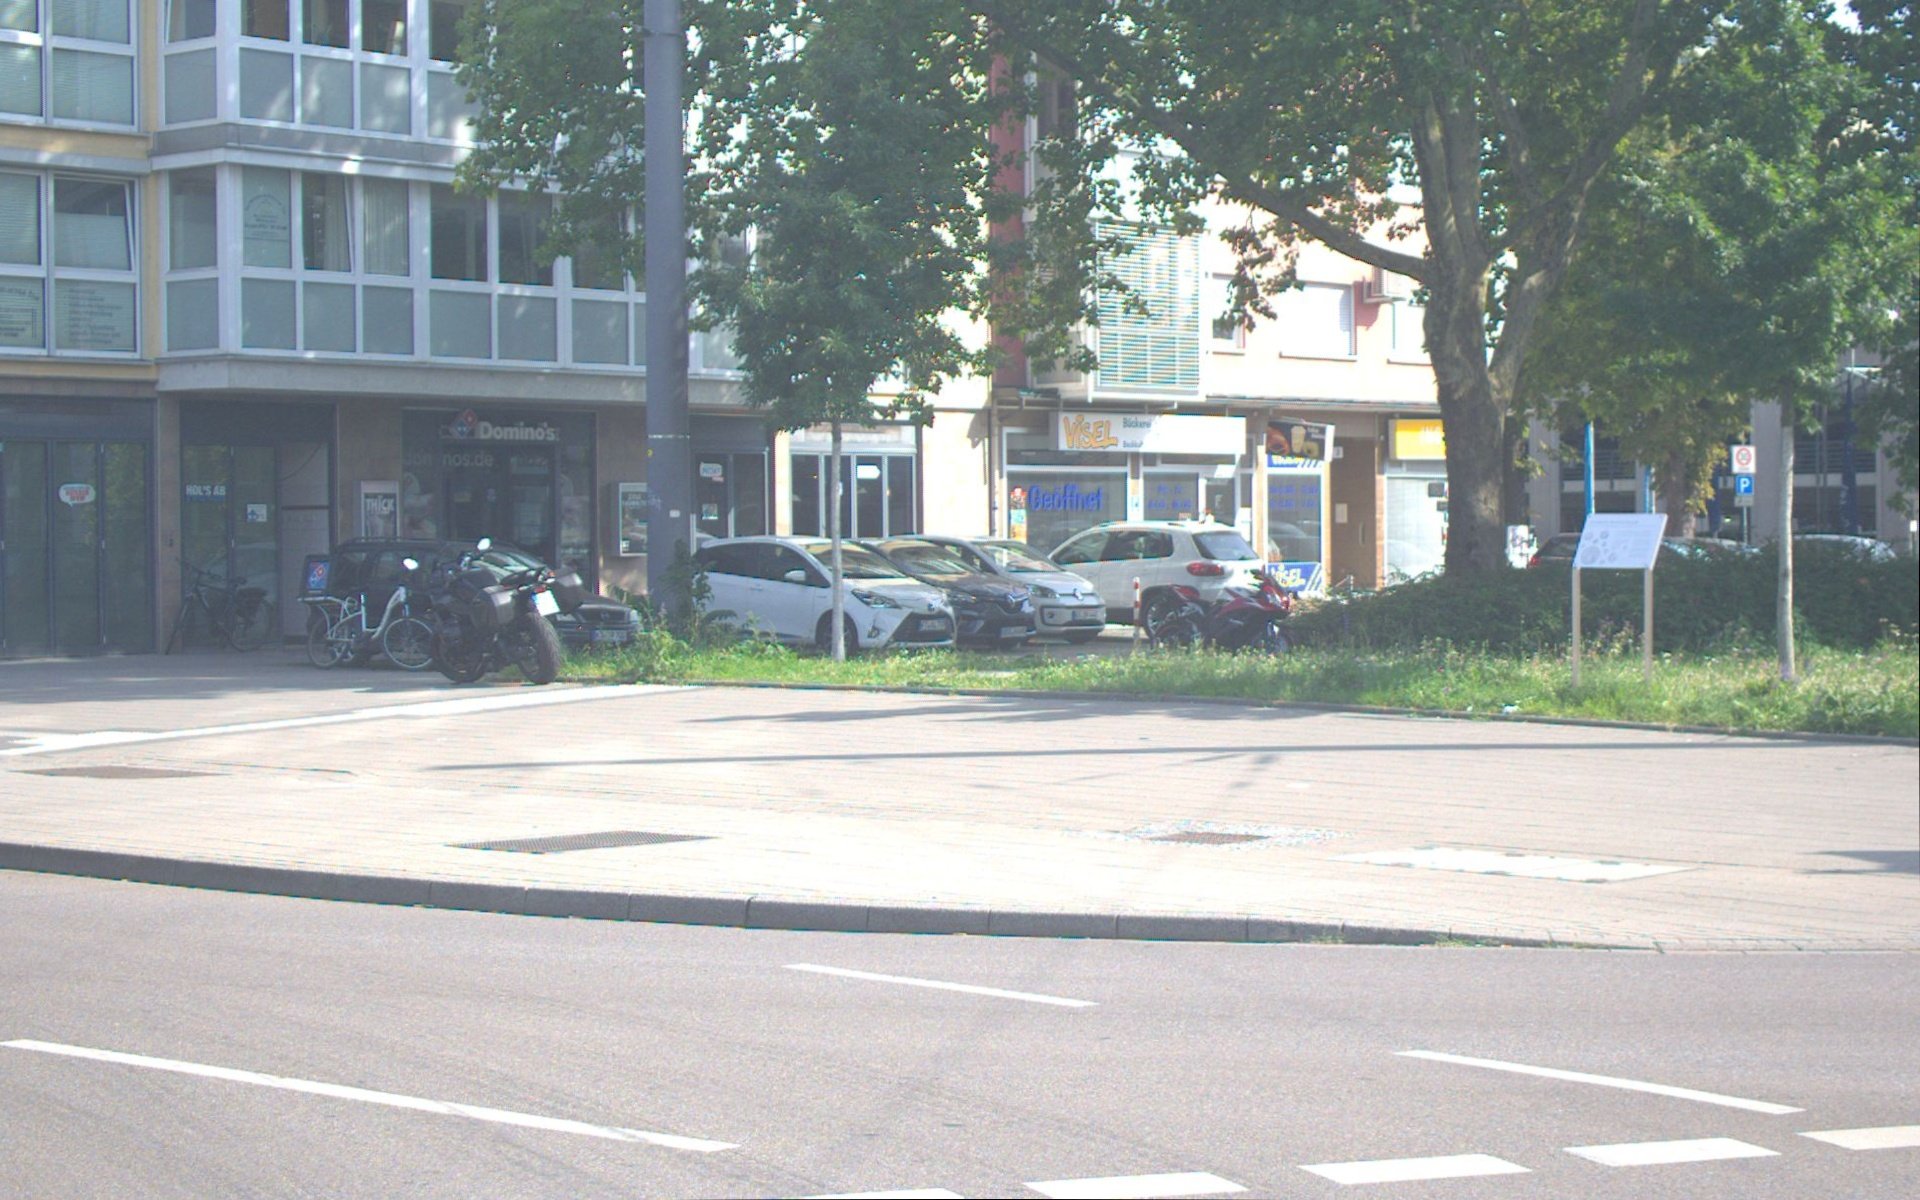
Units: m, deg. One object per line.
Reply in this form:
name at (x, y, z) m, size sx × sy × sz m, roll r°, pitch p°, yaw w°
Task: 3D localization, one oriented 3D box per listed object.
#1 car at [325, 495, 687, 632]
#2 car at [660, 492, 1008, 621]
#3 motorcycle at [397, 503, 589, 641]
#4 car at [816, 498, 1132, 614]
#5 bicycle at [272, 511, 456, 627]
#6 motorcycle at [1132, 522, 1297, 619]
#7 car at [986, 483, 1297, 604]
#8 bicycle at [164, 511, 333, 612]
car at (-5.106, -0.428, 38.331) m, size 4.191 × 1.436 × 1.658 m, roll 1°, pitch 2°, yaw 42°
car at (-1.577, -0.556, 42.275) m, size 3.997 × 1.502 × 1.995 m, roll 1°, pitch 2°, yaw 42°
motorcycle at (-4.068, -0.262, 29.793) m, size 0.703 × 1.143 × 2.301 m, roll -1°, pitch 2°, yaw -33°
car at (0.164, -0.623, 46.983) m, size 3.997 × 1.502 × 1.995 m, roll 1°, pitch 2°, yaw 42°
bicycle at (-6.510, -0.345, 37.483) m, size 2.298 × 1.230 × 0.523 m, roll 1°, pitch 2°, yaw 36°
motorcycle at (2.699, -0.324, 36.706) m, size 0.703 × 0.998 × 1.956 m, roll -1°, pitch 2°, yaw -33°
car at (2.531, -0.813, 48.469) m, size 3.997 × 1.639 × 1.995 m, roll 1°, pitch 2°, yaw 42°
bicycle at (-8.696, -0.487, 42.086) m, size 0.670 × 1.179 × 2.018 m, roll 1°, pitch 2°, yaw 41°
